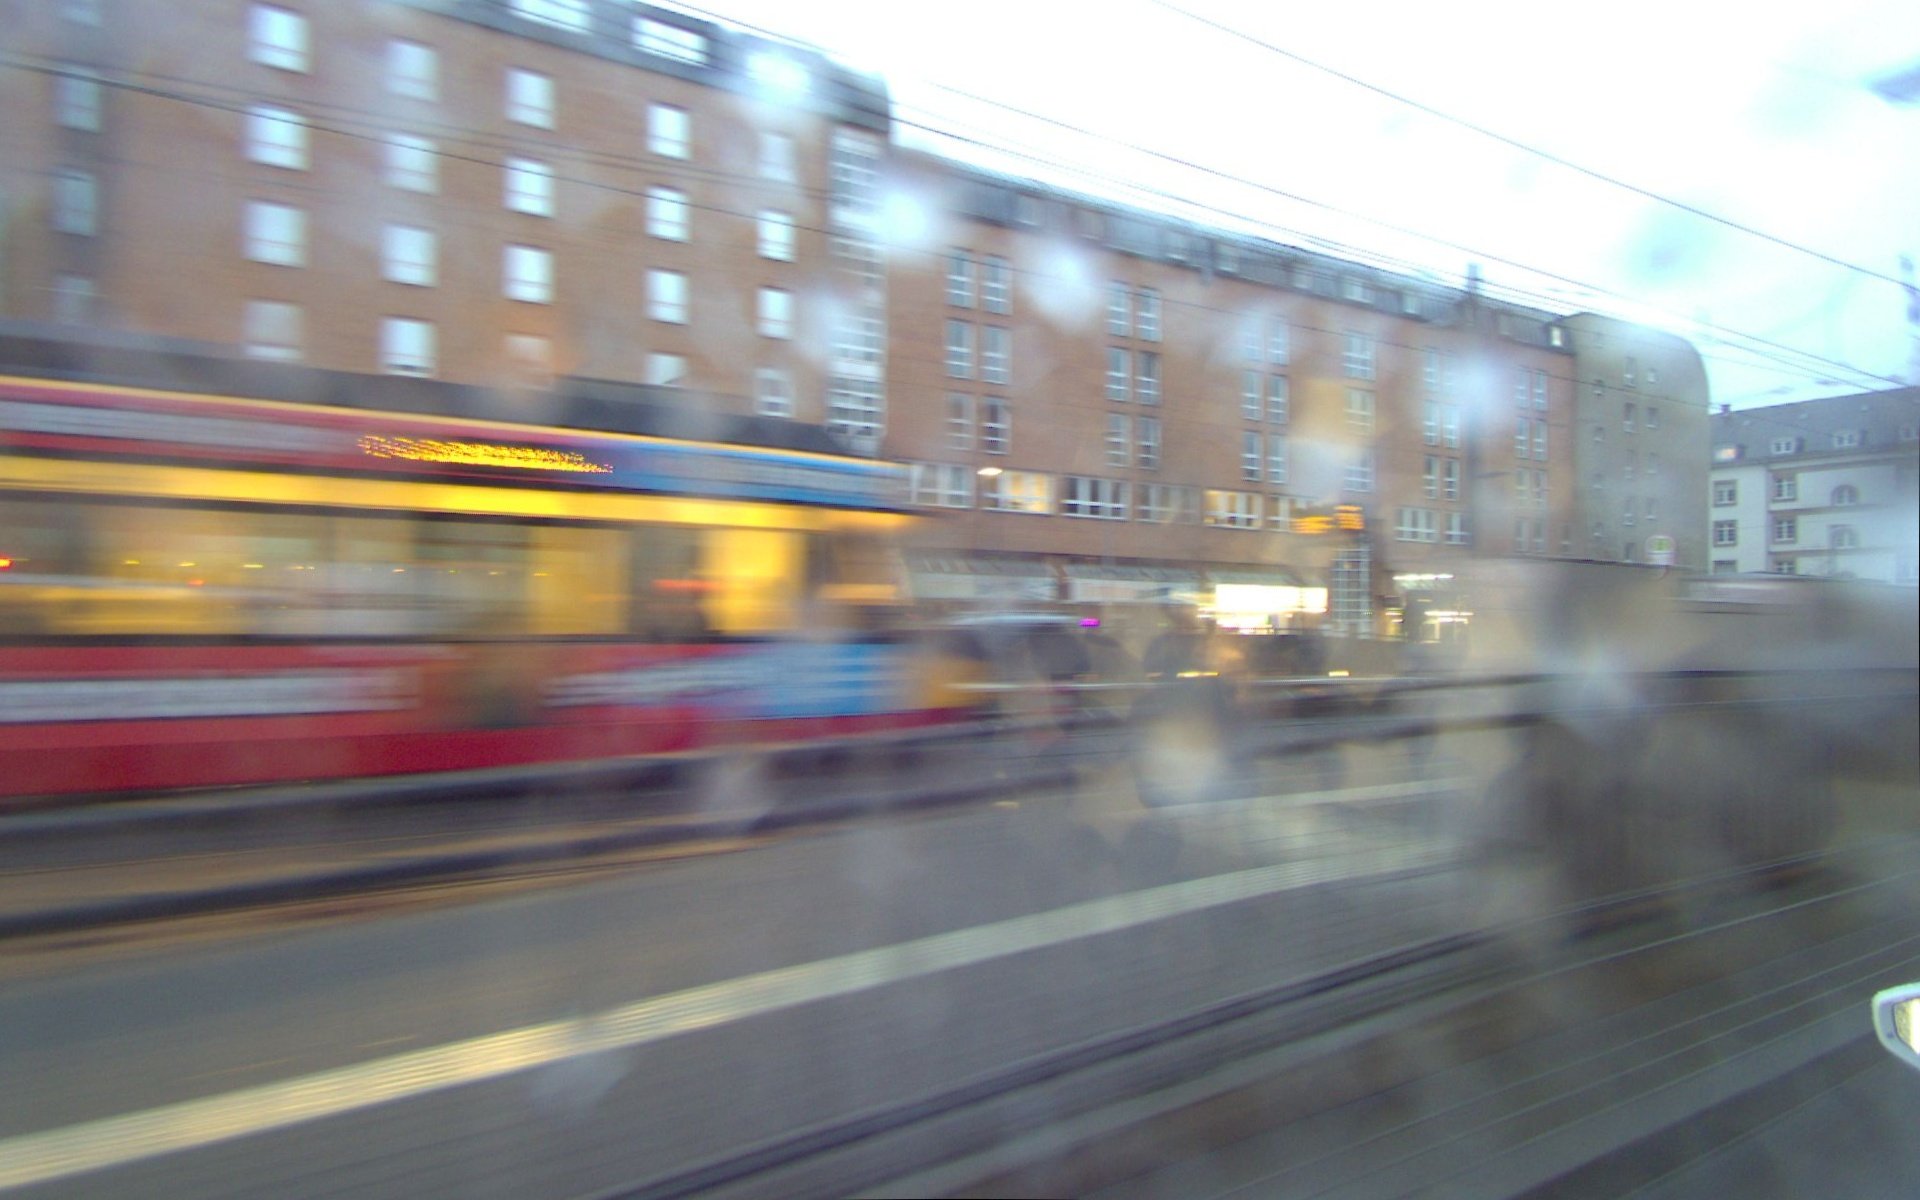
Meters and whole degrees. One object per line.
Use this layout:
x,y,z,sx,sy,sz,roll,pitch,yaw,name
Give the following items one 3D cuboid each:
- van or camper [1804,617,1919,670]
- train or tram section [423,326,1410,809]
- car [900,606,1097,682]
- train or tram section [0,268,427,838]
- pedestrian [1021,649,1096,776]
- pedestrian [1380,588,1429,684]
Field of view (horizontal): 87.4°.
50.072,2.393,55.211,6.653,2.718,2.769,1,0,-21,van or camper
0.172,-0.133,11.368,10.896,3.615,2.888,1,0,-28,train or tram section
0.769,0.844,19.753,3.503,1.372,1.674,2,-1,-29,car
-9.530,-0.373,6.216,10.896,3.626,2.913,1,0,-28,train or tram section
0.958,1.076,9.809,0.484,1.168,0.578,1,0,-26,pedestrian
9.126,0.731,20.622,0.781,1.911,0.881,0,-1,33,pedestrian
